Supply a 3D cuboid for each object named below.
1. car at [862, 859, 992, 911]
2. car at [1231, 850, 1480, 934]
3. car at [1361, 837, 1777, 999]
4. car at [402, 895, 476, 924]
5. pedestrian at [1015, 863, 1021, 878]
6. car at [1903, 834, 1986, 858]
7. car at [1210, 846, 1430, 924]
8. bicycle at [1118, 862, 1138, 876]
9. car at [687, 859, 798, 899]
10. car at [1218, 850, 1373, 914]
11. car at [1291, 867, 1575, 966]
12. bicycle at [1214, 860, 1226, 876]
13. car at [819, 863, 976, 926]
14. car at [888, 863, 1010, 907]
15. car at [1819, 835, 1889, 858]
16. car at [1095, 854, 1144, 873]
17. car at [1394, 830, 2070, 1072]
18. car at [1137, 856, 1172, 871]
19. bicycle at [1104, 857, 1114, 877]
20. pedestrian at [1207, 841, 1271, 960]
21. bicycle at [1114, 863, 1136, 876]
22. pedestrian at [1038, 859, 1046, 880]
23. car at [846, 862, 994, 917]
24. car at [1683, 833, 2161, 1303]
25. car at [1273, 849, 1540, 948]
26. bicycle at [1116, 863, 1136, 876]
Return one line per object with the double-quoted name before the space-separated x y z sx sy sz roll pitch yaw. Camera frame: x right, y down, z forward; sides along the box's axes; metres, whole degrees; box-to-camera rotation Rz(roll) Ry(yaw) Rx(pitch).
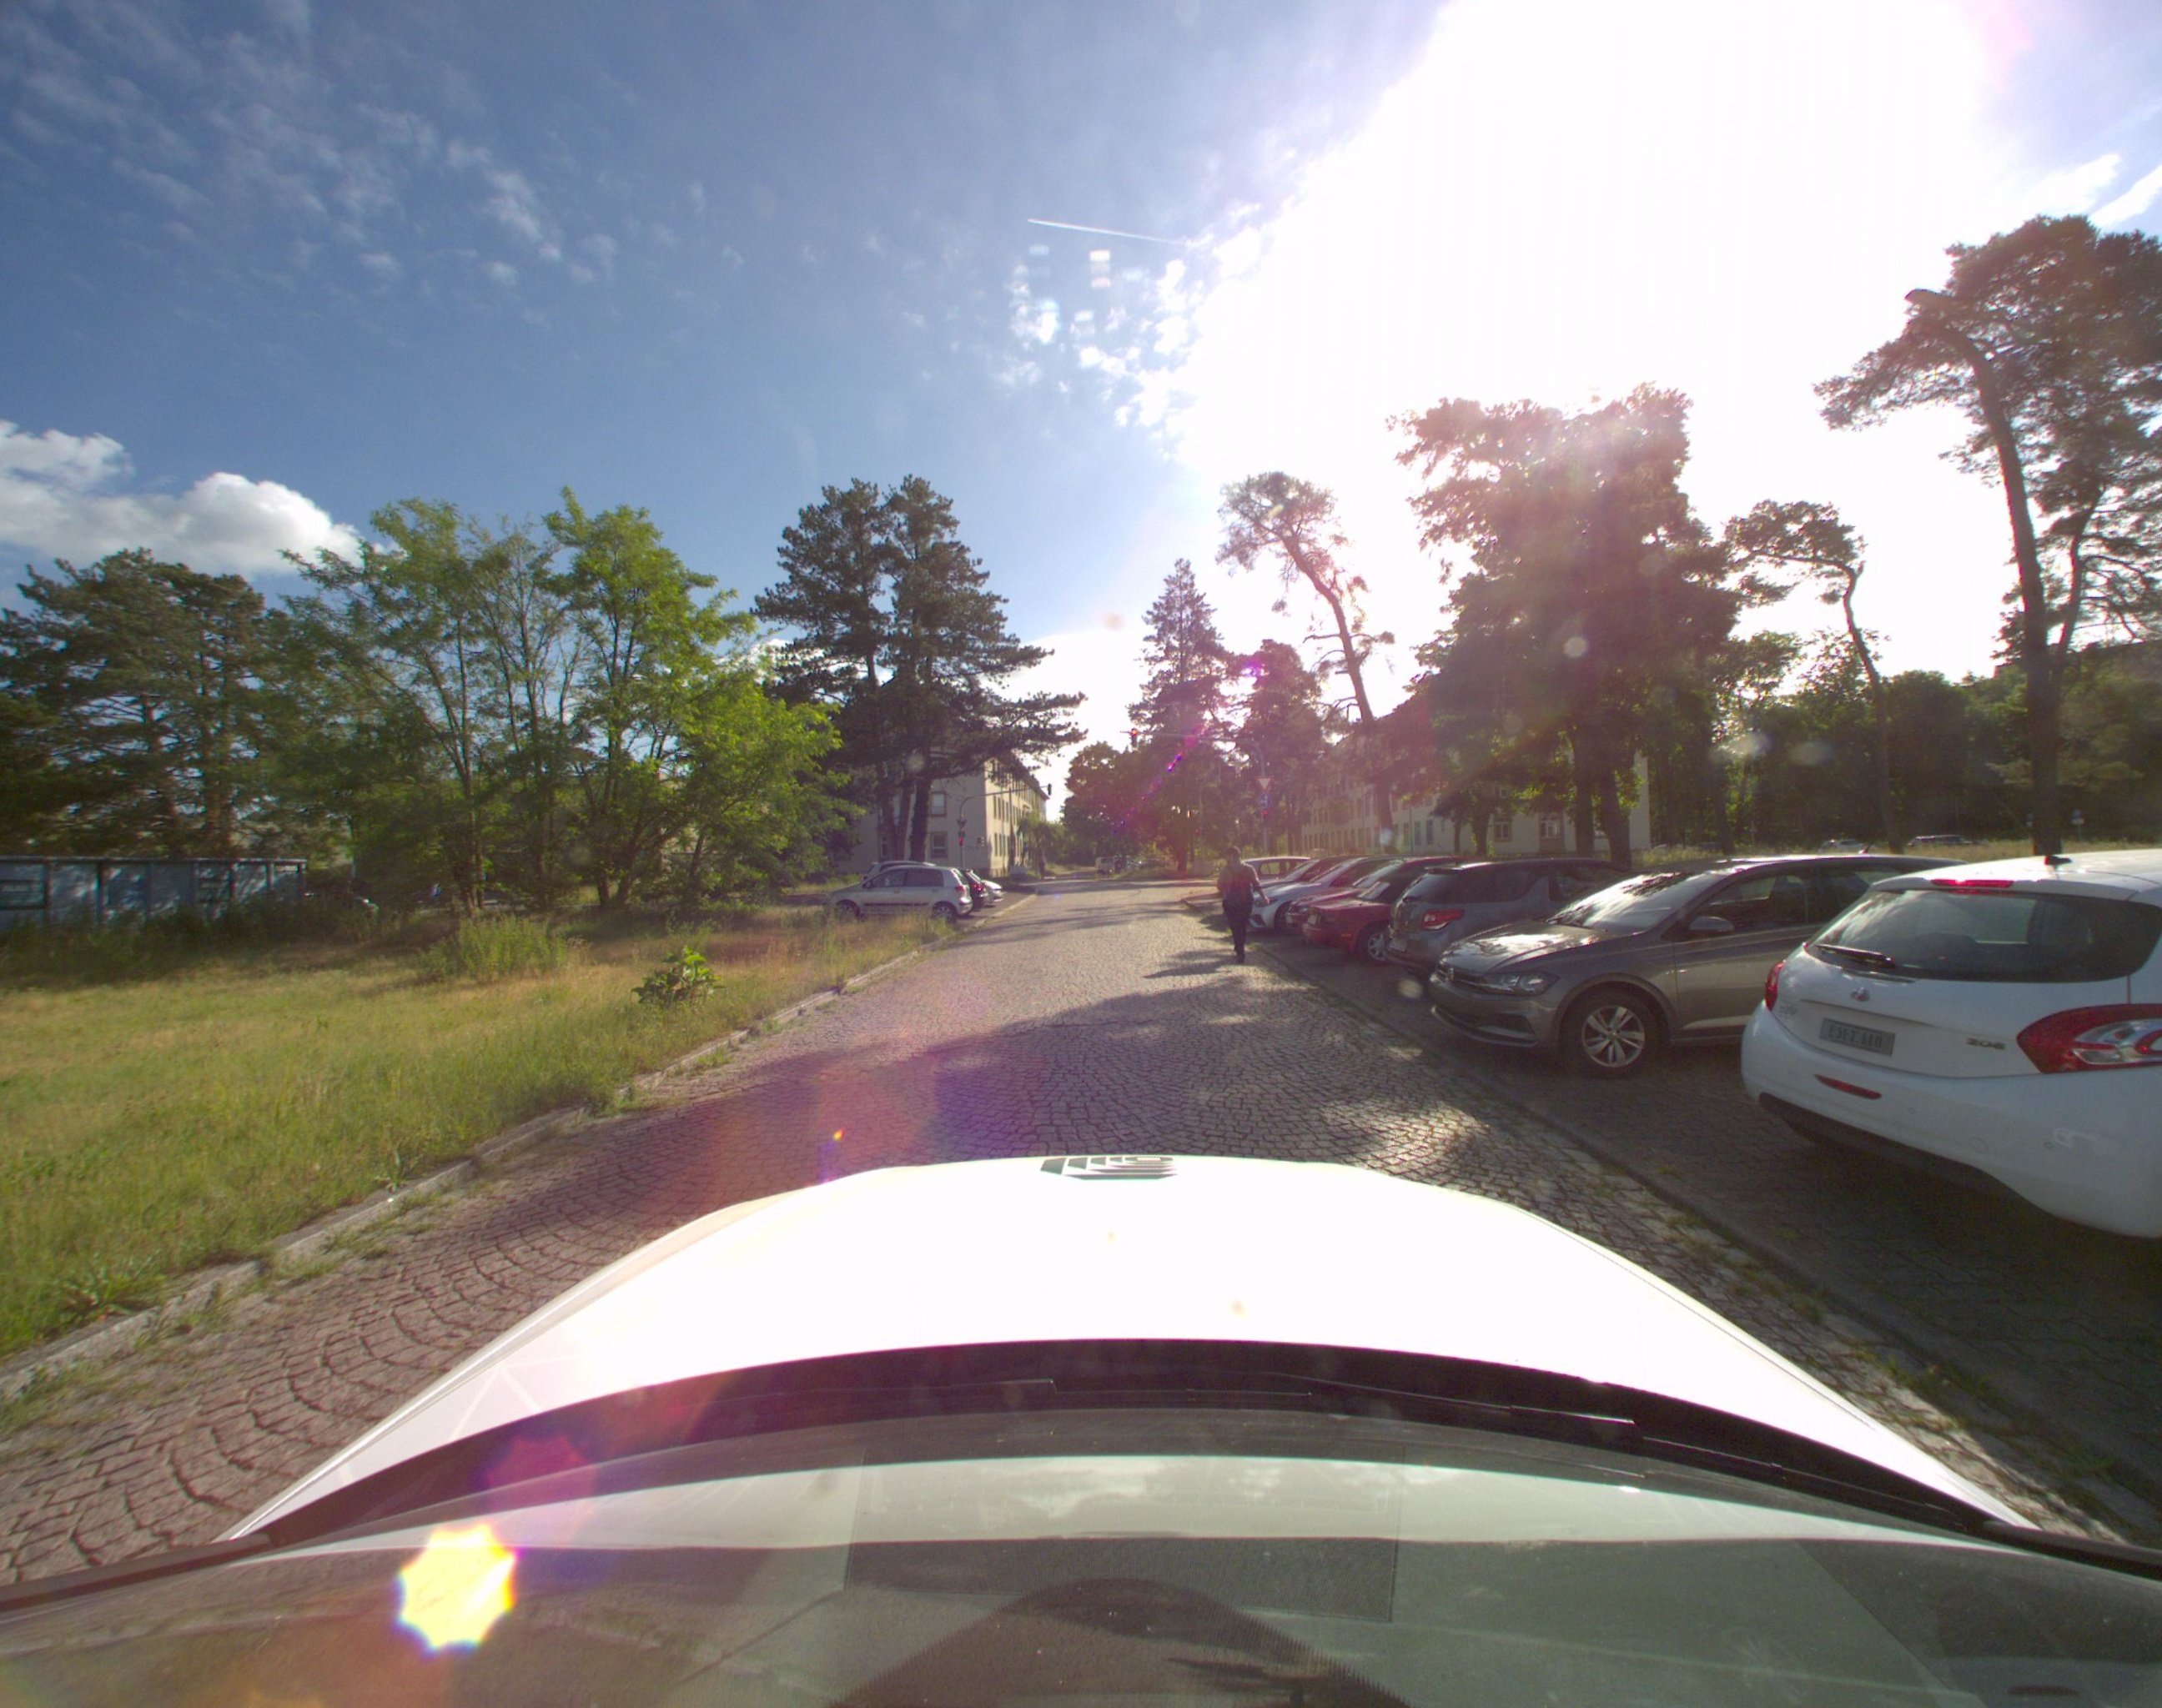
"car" -4.962 0.981 26.554 3.866 1.615 1.660 1 -1 0
"car" 5.404 0.732 16.457 4.384 1.388 1.789 -3 -1 0
"car" 5.316 0.667 9.246 3.649 1.455 1.667 -4 -1 1
"car" -45.913 3.918 58.355 1.856 1.778 4.007 -2 -1 4
"pedestrian" -6.569 1.740 84.977 0.606 1.560 0.544 -1 -1 -5
"car" 58.681 -0.538 55.412 3.619 1.498 1.769 -2 -1 4
"car" 5.564 0.700 19.352 4.606 1.455 1.869 -4 0 -1
"bicycle" 4.178 1.312 72.037 1.723 1.164 0.560 -2 -1 -2
"car" -15.212 1.103 36.750 4.127 1.608 2.011 -2 0 2
"car" 5.660 0.722 21.803 3.659 1.443 1.666 -3 -1 1
"car" 4.962 0.866 11.823 3.447 1.242 1.537 -2 -1 2
"bicycle" 10.014 0.974 58.771 0.717 1.115 2.592 -2 -1 11
"car" -4.694 1.024 21.195 3.674 1.527 1.698 1 -1 -1
"car" -4.688 1.088 29.265 3.966 1.496 1.776 1 0 6
"car" 59.676 -0.575 62.923 3.619 1.671 1.769 -2 -1 4
"car" 4.148 1.021 88.724 5.063 1.918 1.995 -2 -1 -8
"car" 4.683 0.668 6.361 3.765 1.450 1.759 -3 -1 3
"car" 8.311 1.112 92.555 3.738 1.580 1.738 -1 -1 -6
"bicycle" 2.295 1.067 67.395 0.750 1.580 2.537 -1 -1 1
"pedestrian" 2.398 0.686 12.413 0.750 1.725 0.829 3 -1 1
"bicycle" 3.834 1.346 70.817 1.829 1.112 0.495 -2 -1 -2
"pedestrian" -3.399 1.357 70.686 0.604 1.752 0.630 -1 -1 1
"car" -4.644 1.015 23.859 3.924 1.445 1.691 1 0 0
"car" 4.979 0.653 3.421 3.631 1.492 1.635 -2 -1 2
"car" 5.539 0.744 14.202 3.965 1.448 1.656 -3 -1 1
"bicycle" 3.920 1.349 71.360 1.723 1.112 0.484 -2 -1 -2
